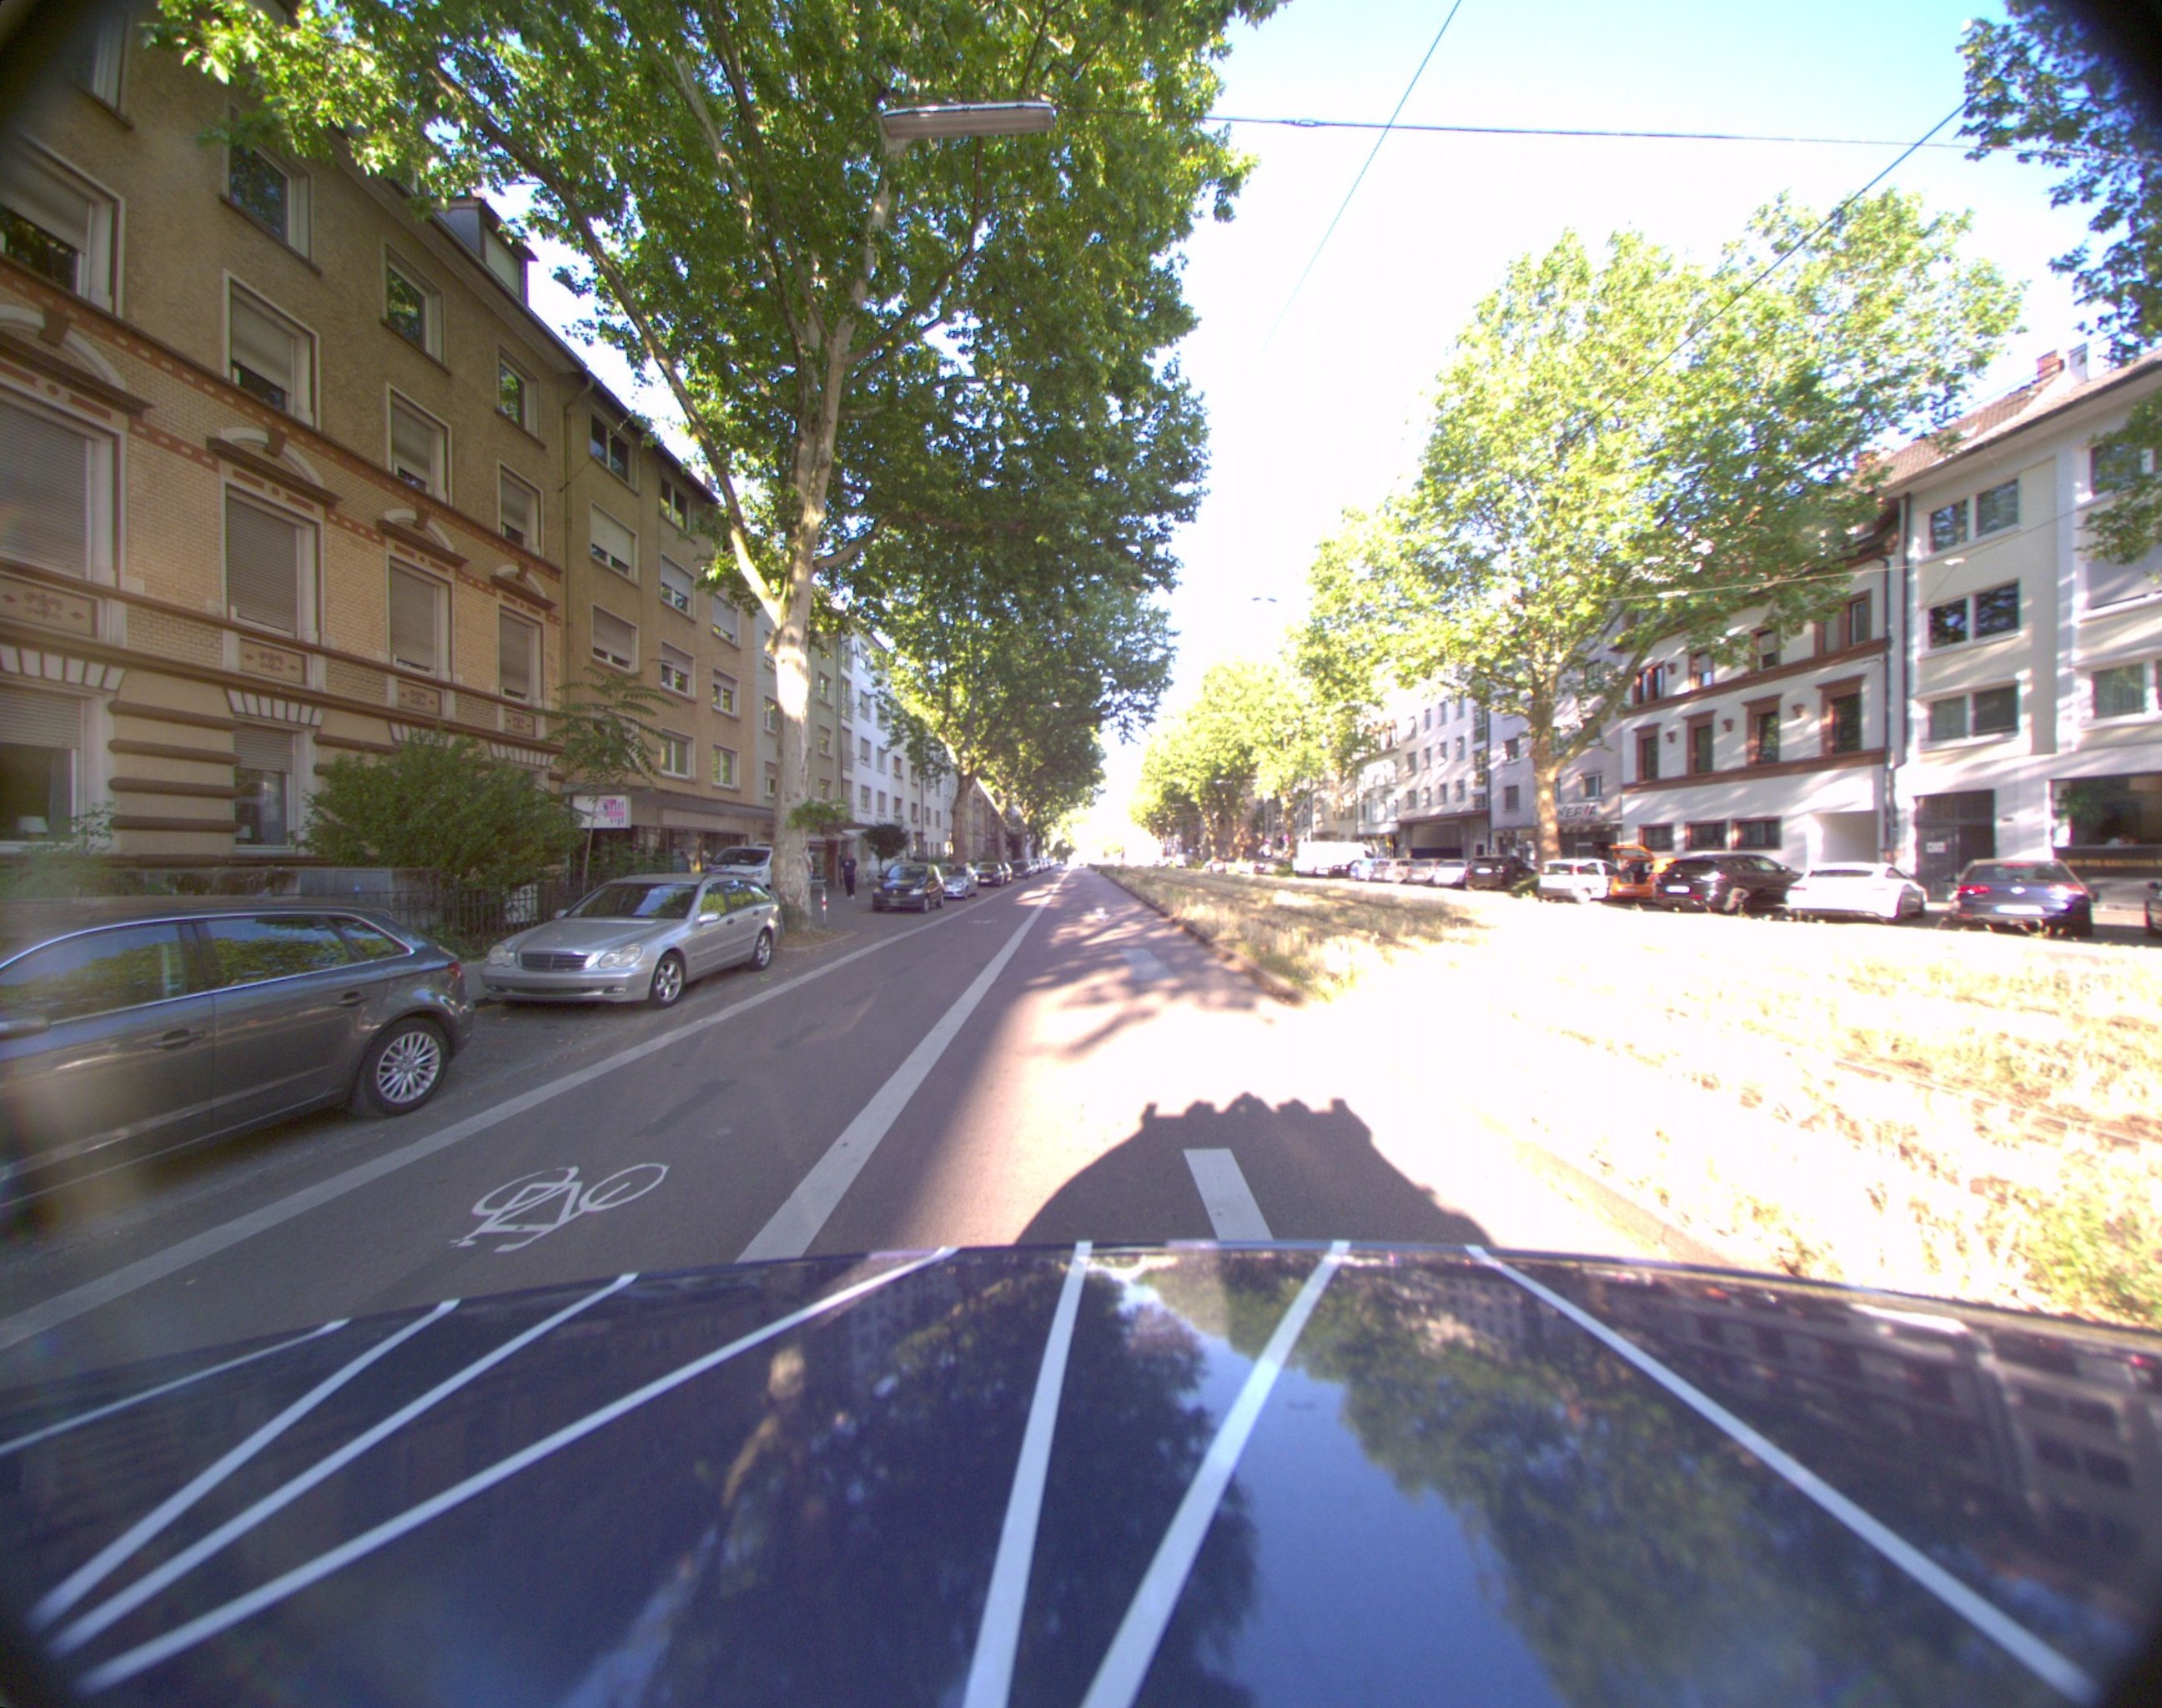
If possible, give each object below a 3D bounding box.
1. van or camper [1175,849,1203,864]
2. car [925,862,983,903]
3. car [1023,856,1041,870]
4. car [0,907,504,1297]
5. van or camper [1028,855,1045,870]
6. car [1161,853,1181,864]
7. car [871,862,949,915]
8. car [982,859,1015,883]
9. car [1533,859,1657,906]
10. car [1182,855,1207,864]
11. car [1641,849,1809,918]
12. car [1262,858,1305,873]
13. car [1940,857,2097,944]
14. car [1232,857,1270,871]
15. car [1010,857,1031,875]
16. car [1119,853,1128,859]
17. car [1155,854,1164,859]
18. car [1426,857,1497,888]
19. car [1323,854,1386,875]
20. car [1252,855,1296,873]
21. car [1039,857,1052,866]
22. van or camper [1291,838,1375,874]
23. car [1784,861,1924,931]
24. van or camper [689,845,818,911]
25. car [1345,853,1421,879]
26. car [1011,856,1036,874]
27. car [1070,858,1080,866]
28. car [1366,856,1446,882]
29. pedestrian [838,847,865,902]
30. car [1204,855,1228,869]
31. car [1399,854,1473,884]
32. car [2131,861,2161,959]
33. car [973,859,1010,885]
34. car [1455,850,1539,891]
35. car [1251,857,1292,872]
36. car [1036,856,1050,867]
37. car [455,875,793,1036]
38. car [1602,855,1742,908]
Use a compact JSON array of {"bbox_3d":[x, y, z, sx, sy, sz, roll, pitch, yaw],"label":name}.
[{"bbox_3d":[18.384,0.429,129.555,4.371,2.386,2.196,-4,2,-40],"label":"van or camper"},{"bbox_3d":[-5.315,1.153,32.311,1.699,1.533,4.776,0,0,-1],"label":"car"},{"bbox_3d":[-5.536,1.036,86.241,1.702,1.517,4.194,0,0,0],"label":"car"},{"bbox_3d":[-5.193,1.088,3.494,1.714,1.388,4.321,0,0,1],"label":"car"},{"bbox_3d":[-5.400,1.024,92.540,1.790,1.710,4.379,1,0,1],"label":"van or camper"},{"bbox_3d":[18.344,0.852,154.643,4.007,2.002,1.995,-3,1,-42],"label":"car"},{"bbox_3d":[-5.433,1.047,24.555,1.658,1.536,3.999,0,0,-1],"label":"car"},{"bbox_3d":[-5.402,1.075,50.401,1.713,1.407,4.363,2,0,0],"label":"car"},{"bbox_3d":[18.034,0.941,26.644,4.369,1.440,1.655,-1,1,-26],"label":"car"},{"bbox_3d":[18.996,0.987,127.030,4.006,1.240,1.726,-4,1,-34],"label":"car"},{"bbox_3d":[18.292,0.803,21.582,4.370,1.776,1.989,2,1,-26],"label":"car"},{"bbox_3d":[18.704,1.062,70.092,4.014,1.349,1.797,1,0,-37],"label":"car"},{"bbox_3d":[19.354,0.876,15.856,4.007,1.433,1.797,-3,1,-43],"label":"car"},{"bbox_3d":[18.218,1.059,81.264,3.687,1.382,1.822,-1,0,-31],"label":"car"},{"bbox_3d":[-5.277,1.049,66.322,1.748,1.455,4.024,0,0,-5],"label":"car"},{"bbox_3d":[11.625,0.419,205.764,1.997,1.477,4.002,-2,0,8],"label":"car"},{"bbox_3d":[20.966,0.640,202.485,1.998,1.412,4.000,-2,0,2],"label":"car"},{"bbox_3d":[18.941,0.905,37.732,4.008,1.377,1.907,-2,0,-45],"label":"car"},{"bbox_3d":[19.708,0.743,54.775,4.004,1.482,1.996,0,0,-22],"label":"car"},{"bbox_3d":[18.652,0.974,73.380,4.169,1.583,1.932,2,-1,-36],"label":"car"},{"bbox_3d":[-5.592,1.164,119.637,1.790,1.458,3.569,1,0,0],"label":"car"},{"bbox_3d":[18.984,0.109,57.285,5.974,2.630,2.175,0,0,-20],"label":"van or camper"},{"bbox_3d":[18.627,0.938,18.254,4.212,1.325,1.718,-3,1,-36],"label":"car"},{"bbox_3d":[-10.442,0.711,24.792,1.947,1.911,5.390,0,0,-1],"label":"van or camper"},{"bbox_3d":[18.960,0.760,47.848,3.998,1.412,1.857,-2,1,-4],"label":"car"},{"bbox_3d":[-5.477,1.018,73.098,1.999,1.557,4.663,2,0,0],"label":"car"},{"bbox_3d":[-1.208,1.602,156.716,1.893,1.501,4.000,-2,0,1],"label":"car"},{"bbox_3d":[19.172,0.853,44.912,4.002,1.483,1.948,0,0,-13],"label":"car"},{"bbox_3d":[-8.543,0.750,28.306,0.684,2.002,1.012,0,1,-2],"label":"pedestrian"},{"bbox_3d":[15.054,0.882,85.013,1.825,1.381,4.483,2,0,-1],"label":"car"},{"bbox_3d":[19.059,0.788,40.781,4.006,1.414,1.752,-3,1,-34],"label":"car"},{"bbox_3d":[19.048,0.909,12.515,4.007,1.433,1.717,-3,1,-41],"label":"car"},{"bbox_3d":[-5.318,1.054,45.511,1.713,1.407,4.363,2,0,0],"label":"car"},{"bbox_3d":[18.681,0.713,34.064,4.008,1.651,1.995,-1,0,-41],"label":"car"},{"bbox_3d":[19.227,1.070,76.760,4.008,1.524,1.821,2,-1,-36],"label":"car"},{"bbox_3d":[-5.470,1.090,109.564,1.790,1.609,3.829,1,0,0],"label":"car"},{"bbox_3d":[-5.352,1.061,9.761,1.678,1.443,4.570,0,0,-2],"label":"car"},{"bbox_3d":[19.493,0.862,25.093,4.003,1.471,1.774,-3,1,-20],"label":"car"}]
